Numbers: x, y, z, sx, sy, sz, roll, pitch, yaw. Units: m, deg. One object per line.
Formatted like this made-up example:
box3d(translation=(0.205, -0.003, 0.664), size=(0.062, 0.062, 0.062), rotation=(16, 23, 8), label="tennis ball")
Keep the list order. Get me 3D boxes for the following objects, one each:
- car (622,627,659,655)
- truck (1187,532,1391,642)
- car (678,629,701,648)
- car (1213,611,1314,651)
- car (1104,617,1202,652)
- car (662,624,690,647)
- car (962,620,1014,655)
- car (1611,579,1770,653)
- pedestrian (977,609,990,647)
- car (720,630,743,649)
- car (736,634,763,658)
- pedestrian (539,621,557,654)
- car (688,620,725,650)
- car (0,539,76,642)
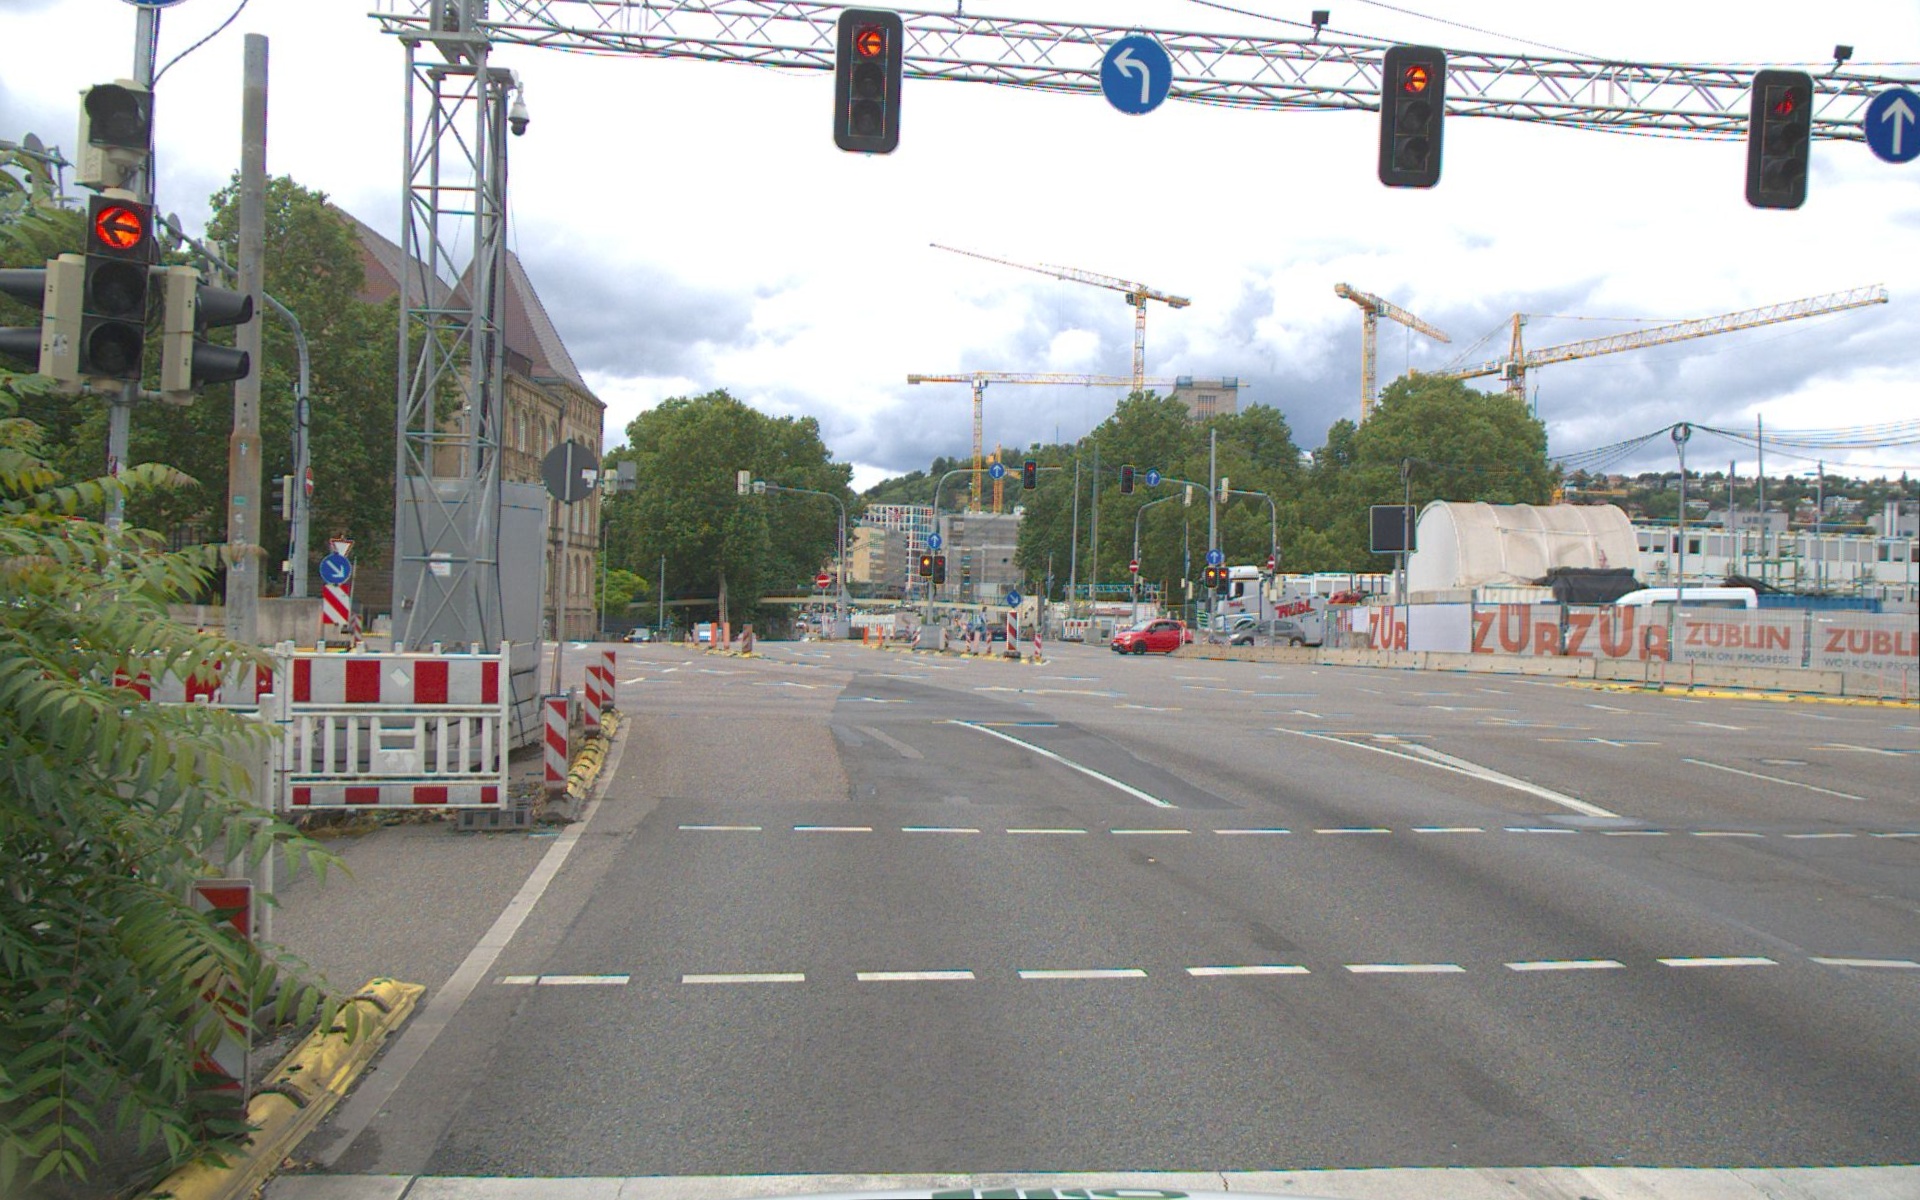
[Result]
box3d(translation=(-22.371, 2.863, 115.866), size=(1.954, 1.870, 3.997), rotation=(1, 0, -3), label="car")
box3d(translation=(15.943, -0.555, 79.999), size=(9.579, 5.047, 3.093), rotation=(1, -1, -22), label="truck")
box3d(translation=(-27.736, 3.914, 169.736), size=(1.954, 1.870, 3.997), rotation=(1, 0, -3), label="car")
box3d(translation=(13.770, 1.395, 75.134), size=(4.104, 1.731, 1.955), rotation=(1, 0, -20), label="car")
box3d(translation=(8.139, 1.461, 69.767), size=(3.755, 1.410, 1.792), rotation=(1, 0, -23), label="car")
box3d(translation=(-25.303, 3.147, 147.463), size=(1.954, 1.870, 3.997), rotation=(1, 0, -3), label="car")
box3d(translation=(1.713, 2.334, 102.824), size=(1.963, 2.049, 3.978), rotation=(1, 0, -19), label="car")
box3d(translation=(21.051, 0.448, 47.813), size=(3.902, 2.049, 2.001), rotation=(1, 0, 15), label="car")
box3d(translation=(1.188, 1.398, 82.095), size=(0.574, 1.872, 0.604), rotation=(1, -1, -4), label="pedestrian")
box3d(translation=(-22.859, 3.947, 165.481), size=(1.954, 1.870, 3.997), rotation=(1, 0, -3), label="car")
box3d(translation=(-17.706, 3.881, 139.109), size=(1.954, 1.870, 3.997), rotation=(1, 0, -3), label="car")
box3d(translation=(-25.915, 2.329, 104.064), size=(0.930, 2.049, 0.766), rotation=(1, -1, 1), label="pedestrian")
box3d(translation=(-16.274, 2.226, 106.354), size=(1.954, 1.870, 3.997), rotation=(1, 0, -3), label="car")
box3d(translation=(-18.509, -0.196, 29.451), size=(4.407, 1.790, 1.996), rotation=(1, 0, -9), label="car")
